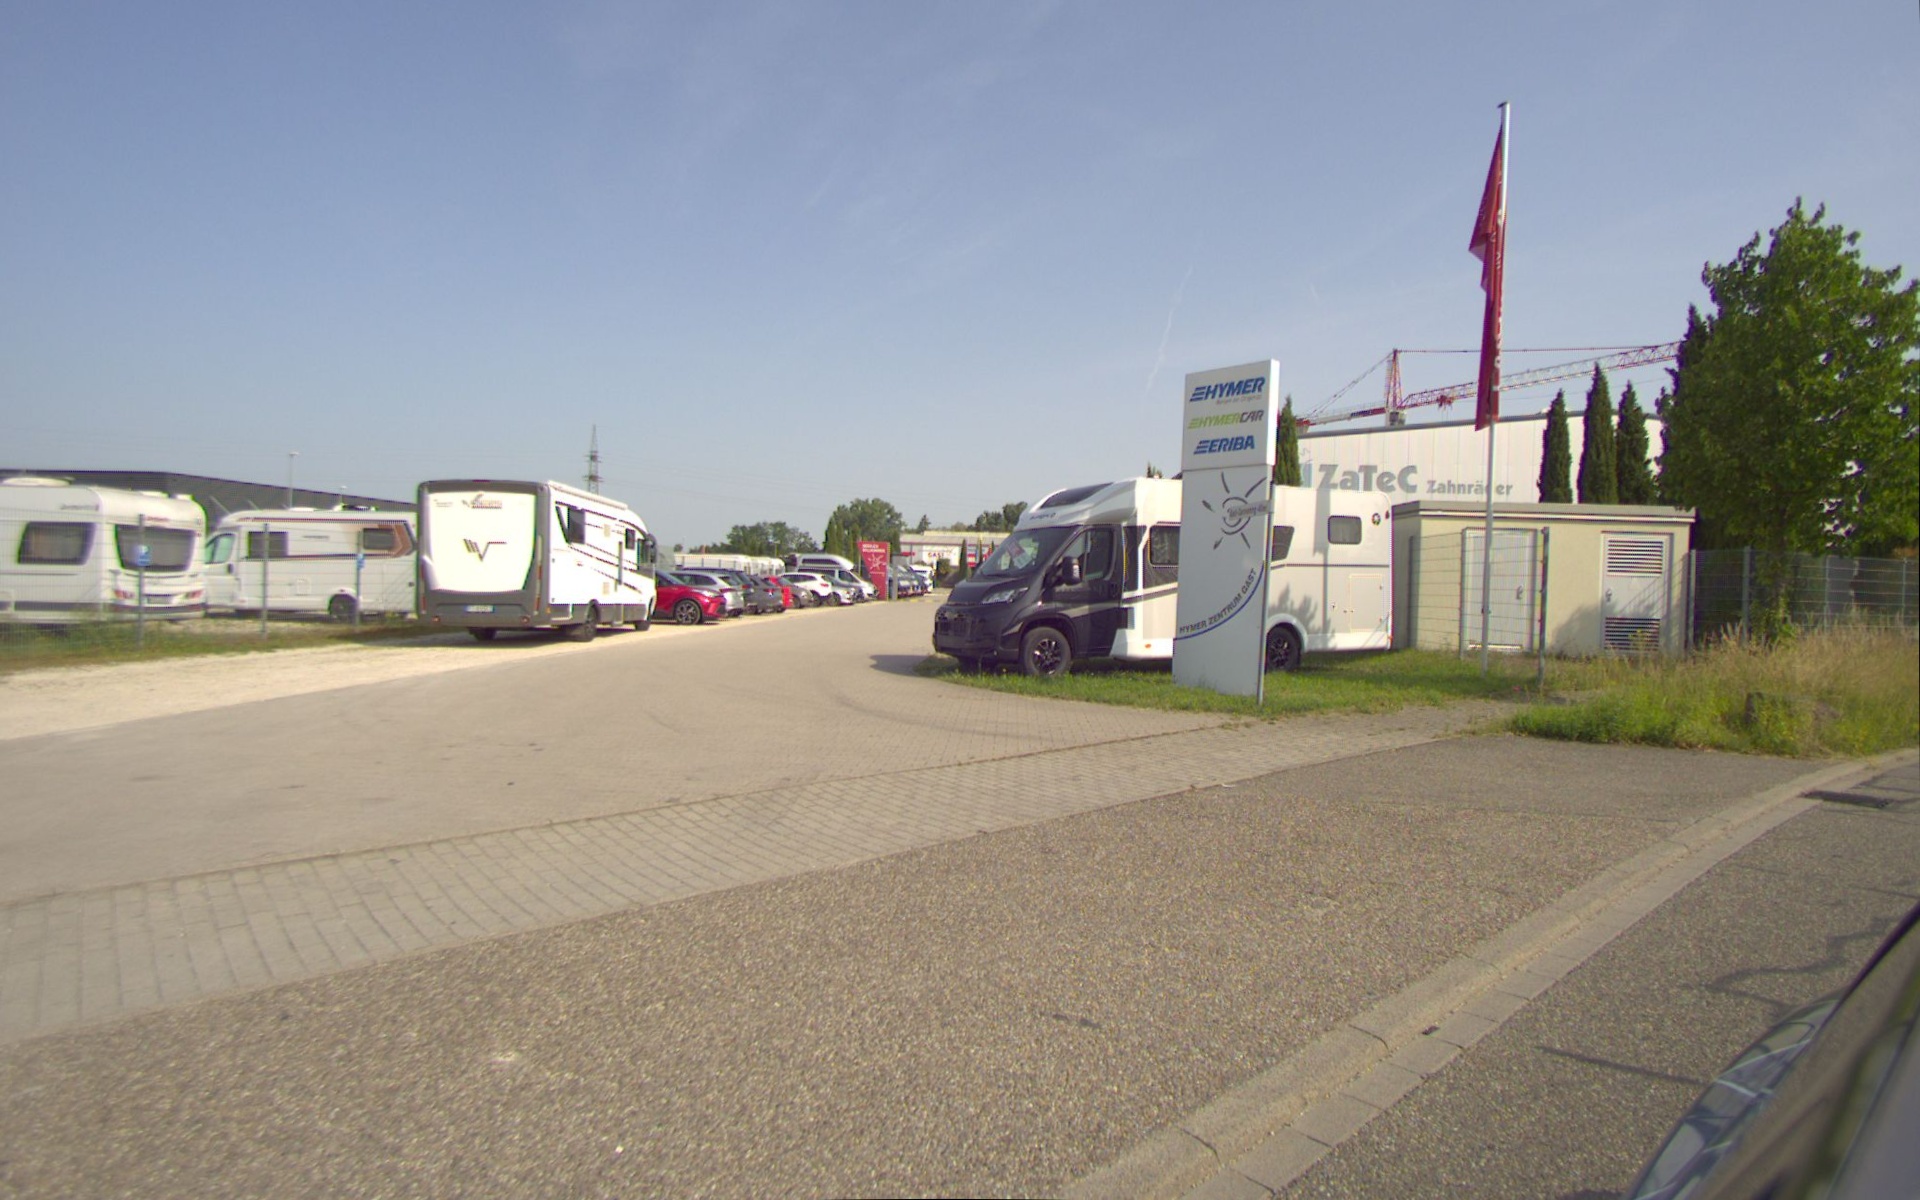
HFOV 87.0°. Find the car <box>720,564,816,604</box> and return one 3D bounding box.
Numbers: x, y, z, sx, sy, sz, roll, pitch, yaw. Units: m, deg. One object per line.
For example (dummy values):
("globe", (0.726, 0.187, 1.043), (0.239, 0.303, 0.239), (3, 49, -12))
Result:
("car", (-8.403, -0.695, 44.487), (3.872, 1.578, 1.542), (2, -1, 1))

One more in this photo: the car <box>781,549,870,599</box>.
("car", (-7.502, -1.464, 56.561), (4.621, 2.631, 1.712), (2, 1, 9))

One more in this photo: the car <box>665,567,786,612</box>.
("car", (-8.280, -0.356, 35.938), (3.874, 1.479, 1.541), (2, -1, 3))

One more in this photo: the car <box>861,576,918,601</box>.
("car", (-5.126, -0.865, 74.067), (3.880, 1.689, 1.538), (1, -1, 9))

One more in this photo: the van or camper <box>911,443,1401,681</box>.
("van or camper", (3.038, -0.506, 14.982), (7.192, 2.883, 2.360), (0, 1, -27))

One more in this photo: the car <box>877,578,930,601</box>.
("car", (-4.425, -0.798, 79.459), (3.880, 1.689, 1.538), (1, -1, 9))

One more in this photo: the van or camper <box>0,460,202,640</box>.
("van or camper", (-16.633, -0.853, 16.755), (6.486, 2.739, 2.328), (1, 1, 1))

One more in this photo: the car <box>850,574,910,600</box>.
("car", (-5.557, -0.907, 70.624), (3.880, 1.689, 1.538), (1, -1, 9))

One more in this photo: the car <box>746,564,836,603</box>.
("car", (-7.826, -0.764, 47.044), (3.874, 1.691, 1.541), (2, -1, 3))

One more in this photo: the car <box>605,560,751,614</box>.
("car", (-8.430, -0.368, 30.484), (3.924, 1.515, 1.715), (1, -1, 0))

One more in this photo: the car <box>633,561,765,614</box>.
("car", (-8.510, -0.392, 33.204), (3.873, 1.612, 1.714), (1, -1, 2))

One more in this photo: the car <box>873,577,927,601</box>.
("car", (-4.569, -0.820, 77.308), (3.880, 1.689, 1.538), (1, -1, 9))

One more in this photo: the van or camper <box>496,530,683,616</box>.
("van or camper", (-14.520, -1.069, 39.944), (6.487, 3.168, 2.491), (1, 1, 2))

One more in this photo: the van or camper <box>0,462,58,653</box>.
("van or camper", (-15.898, -0.663, 13.484), (6.036, 2.566, 2.000), (2, 1, 1))

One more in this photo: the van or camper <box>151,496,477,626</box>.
("van or camper", (-15.439, -0.927, 24.448), (6.487, 2.900, 2.327), (1, 1, 2))

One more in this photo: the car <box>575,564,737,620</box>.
("car", (-8.240, -0.204, 27.683), (3.922, 1.435, 1.716), (1, -1, -2))

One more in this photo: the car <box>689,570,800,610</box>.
("car", (-8.154, -0.373, 38.525), (3.872, 1.390, 1.542), (2, -1, 1))

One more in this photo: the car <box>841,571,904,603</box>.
("car", (-5.852, -0.886, 67.857), (3.880, 2.033, 1.538), (1, -1, 9))

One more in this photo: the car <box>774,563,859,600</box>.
("car", (-7.022, -0.904, 49.591), (3.874, 1.691, 1.541), (2, -1, 3))

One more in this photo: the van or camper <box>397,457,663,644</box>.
("van or camper", (-8.267, -0.901, 20.597), (2.535, 3.069, 7.287), (1, 1, -2))

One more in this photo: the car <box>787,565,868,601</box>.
("car", (-6.810, -0.873, 52.192), (3.874, 1.691, 1.541), (2, -1, 3))
